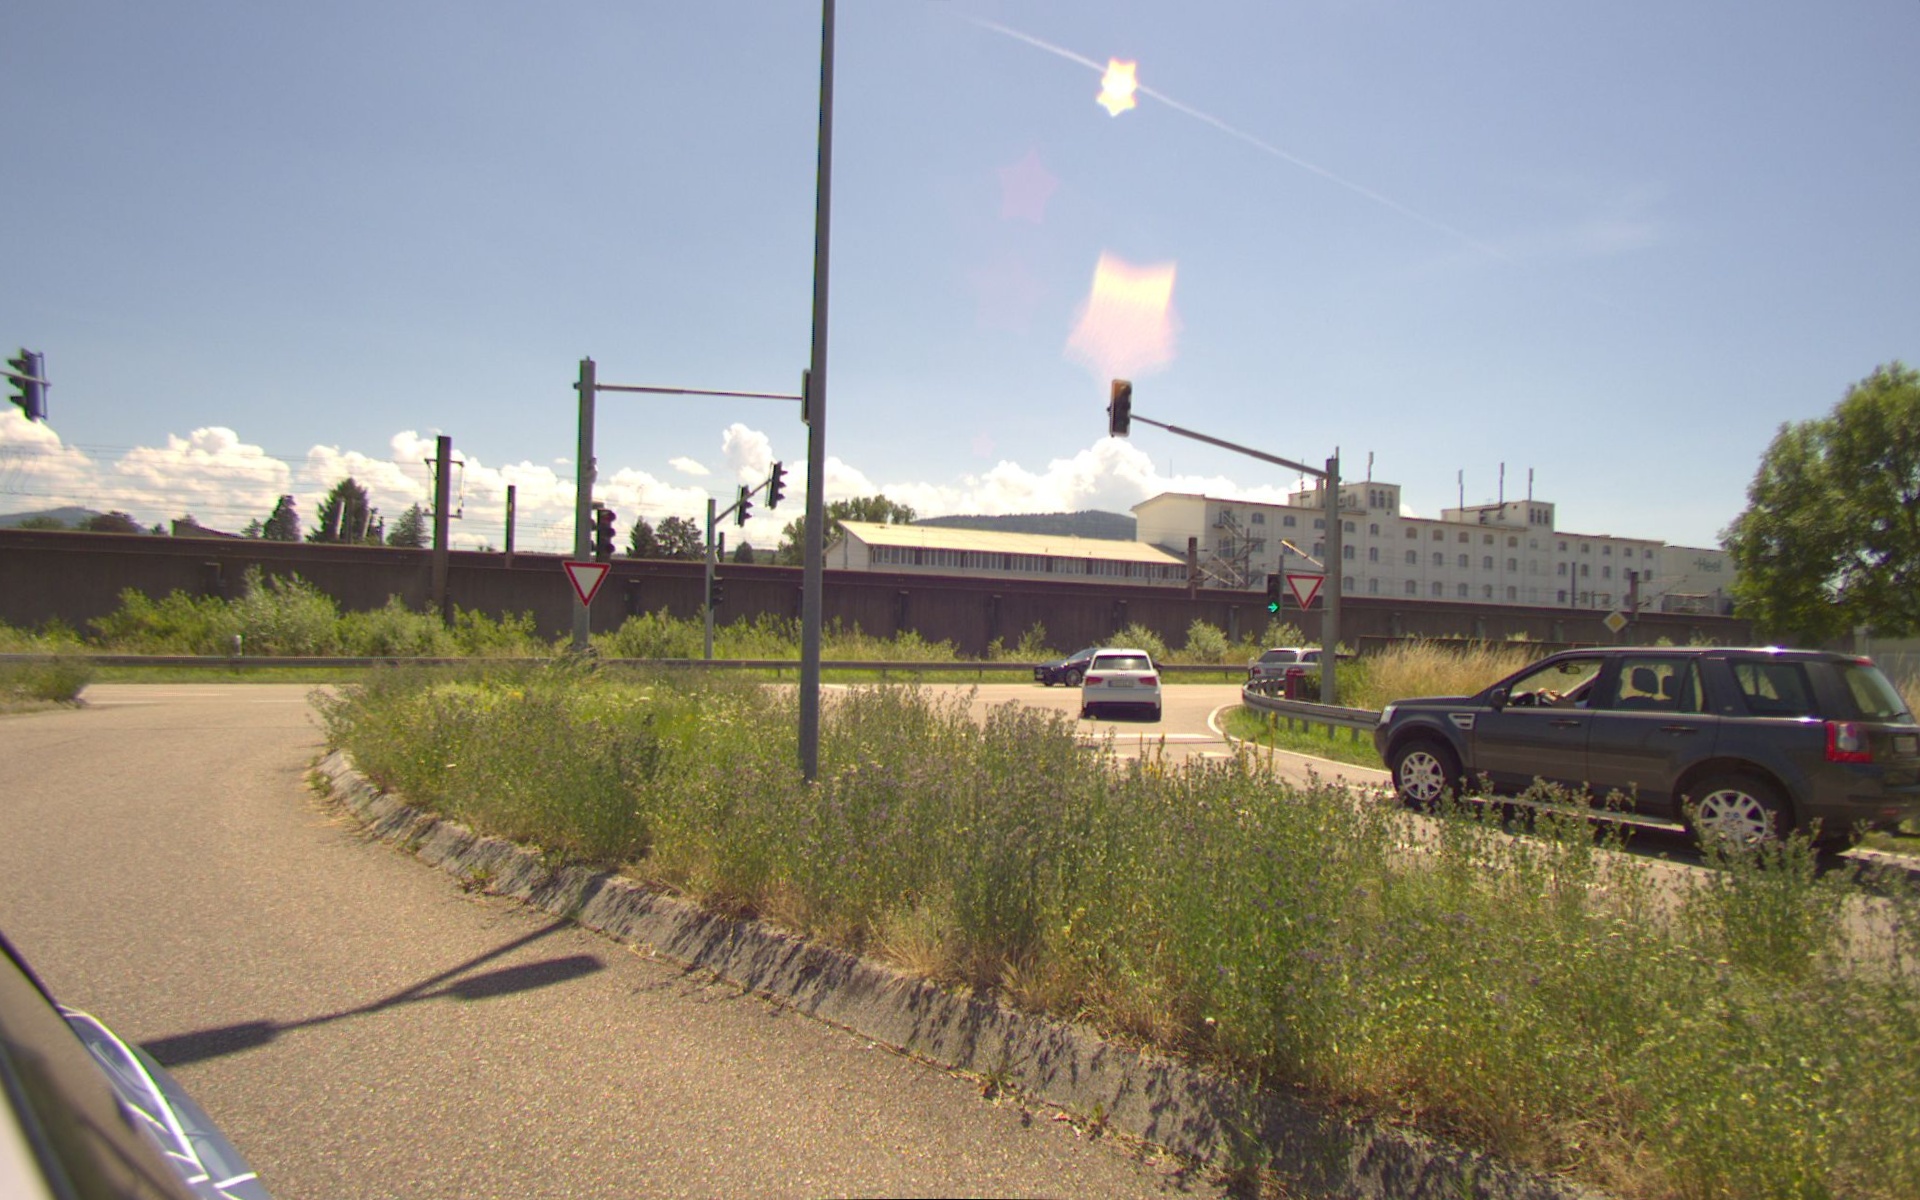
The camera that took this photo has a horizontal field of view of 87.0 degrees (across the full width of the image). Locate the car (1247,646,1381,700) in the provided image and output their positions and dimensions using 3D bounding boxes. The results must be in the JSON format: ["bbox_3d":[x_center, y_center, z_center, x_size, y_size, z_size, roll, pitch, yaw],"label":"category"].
[{"bbox_3d":[10.944,2.242,31.107,4.582,1.517,1.798,4,-4,-40],"label":"car"}]

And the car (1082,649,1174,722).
[{"bbox_3d":[3.651,1.826,22.476,1.711,1.420,3.853,1,-2,5],"label":"car"}]

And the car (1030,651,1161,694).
[{"bbox_3d":[4.919,2.617,36.655,4.439,1.465,1.794,2,-3,-25],"label":"car"}]

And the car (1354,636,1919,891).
[{"bbox_3d":[6.222,1.262,9.362,1.966,1.735,4.496,5,-5,-32],"label":"car"}]
